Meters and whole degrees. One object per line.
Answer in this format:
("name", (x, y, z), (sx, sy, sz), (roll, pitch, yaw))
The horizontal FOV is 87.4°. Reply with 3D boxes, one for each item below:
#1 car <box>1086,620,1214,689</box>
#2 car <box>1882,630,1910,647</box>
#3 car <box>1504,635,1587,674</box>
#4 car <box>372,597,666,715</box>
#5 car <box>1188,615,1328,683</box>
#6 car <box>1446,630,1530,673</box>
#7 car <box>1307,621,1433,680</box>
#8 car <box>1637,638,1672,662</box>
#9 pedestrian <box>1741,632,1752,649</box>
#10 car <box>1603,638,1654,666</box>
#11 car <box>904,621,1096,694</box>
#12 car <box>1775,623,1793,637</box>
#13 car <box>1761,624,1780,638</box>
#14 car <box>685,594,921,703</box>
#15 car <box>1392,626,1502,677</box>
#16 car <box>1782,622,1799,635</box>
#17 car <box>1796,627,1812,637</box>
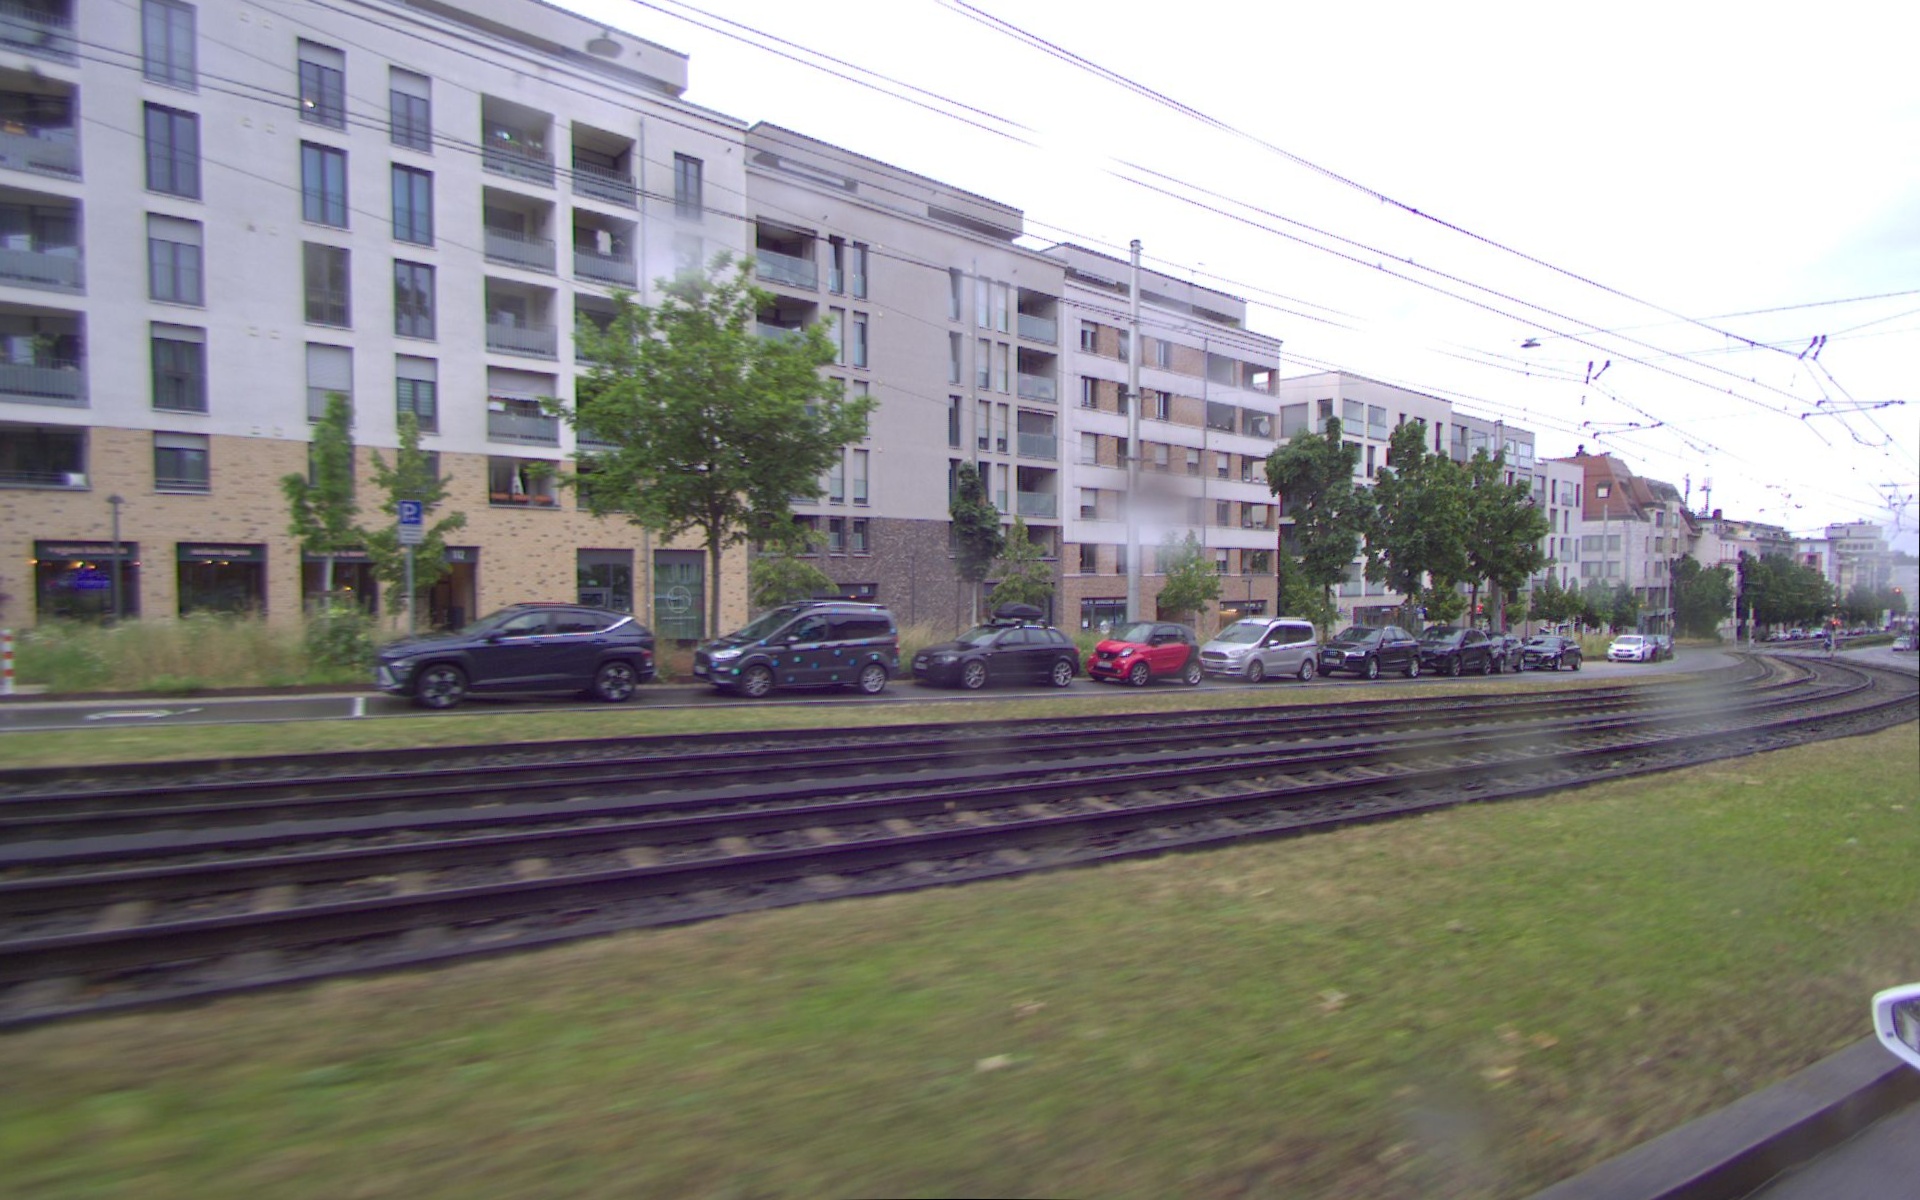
("car", (4.793, 1.349, 25.291), (2.899, 1.551, 1.461), (2, 1, -32))
("car", (106.385, 4.404, 114.100), (3.970, 1.795, 1.975), (2, -1, -42))
("car", (24.814, 2.277, 42.537), (4.171, 1.450, 1.947), (2, 0, -44))
("car", (-7.334, 0.893, 16.839), (4.174, 1.626, 1.980), (2, 2, -36))
("car", (8.466, 1.359, 28.362), (4.220, 1.771, 1.650), (2, -1, -39))
("car", (20.495, 1.956, 38.921), (1.719, 1.509, 4.231), (2, 0, 44))
("car", (12.961, 1.559, 31.631), (4.493, 1.666, 1.718), (2, 0, -39))
("car", (47.352, 3.377, 68.419), (1.698, 1.533, 4.301), (0, -1, 38))
("pedestrian", (89.807, 4.594, 114.678), (0.892, 1.957, 0.823), (1, 0, 34))
("car", (38.020, 2.931, 57.070), (1.747, 1.498, 3.711), (0, -2, 45))
("car", (0.970, 1.281, 22.976), (4.357, 1.466, 1.540), (2, 0, -36))
("car", (130.327, 4.713, 158.841), (1.971, 2.040, 3.978), (1, -1, 42))
("car", (121.163, 4.588, 150.146), (1.971, 2.040, 3.978), (1, -1, 42))
("car", (-3.006, 0.912, 19.679), (4.291, 1.884, 1.570), (2, 1, -36))
("car", (17.138, 1.778, 35.222), (4.663, 1.604, 1.787), (2, 0, -41))
("car", (137.841, 4.760, 166.740), (1.971, 2.040, 3.978), (1, -1, 42))
("car", (147.499, 5.580, 175.502), (1.971, 1.684, 3.978), (1, -1, 42))
